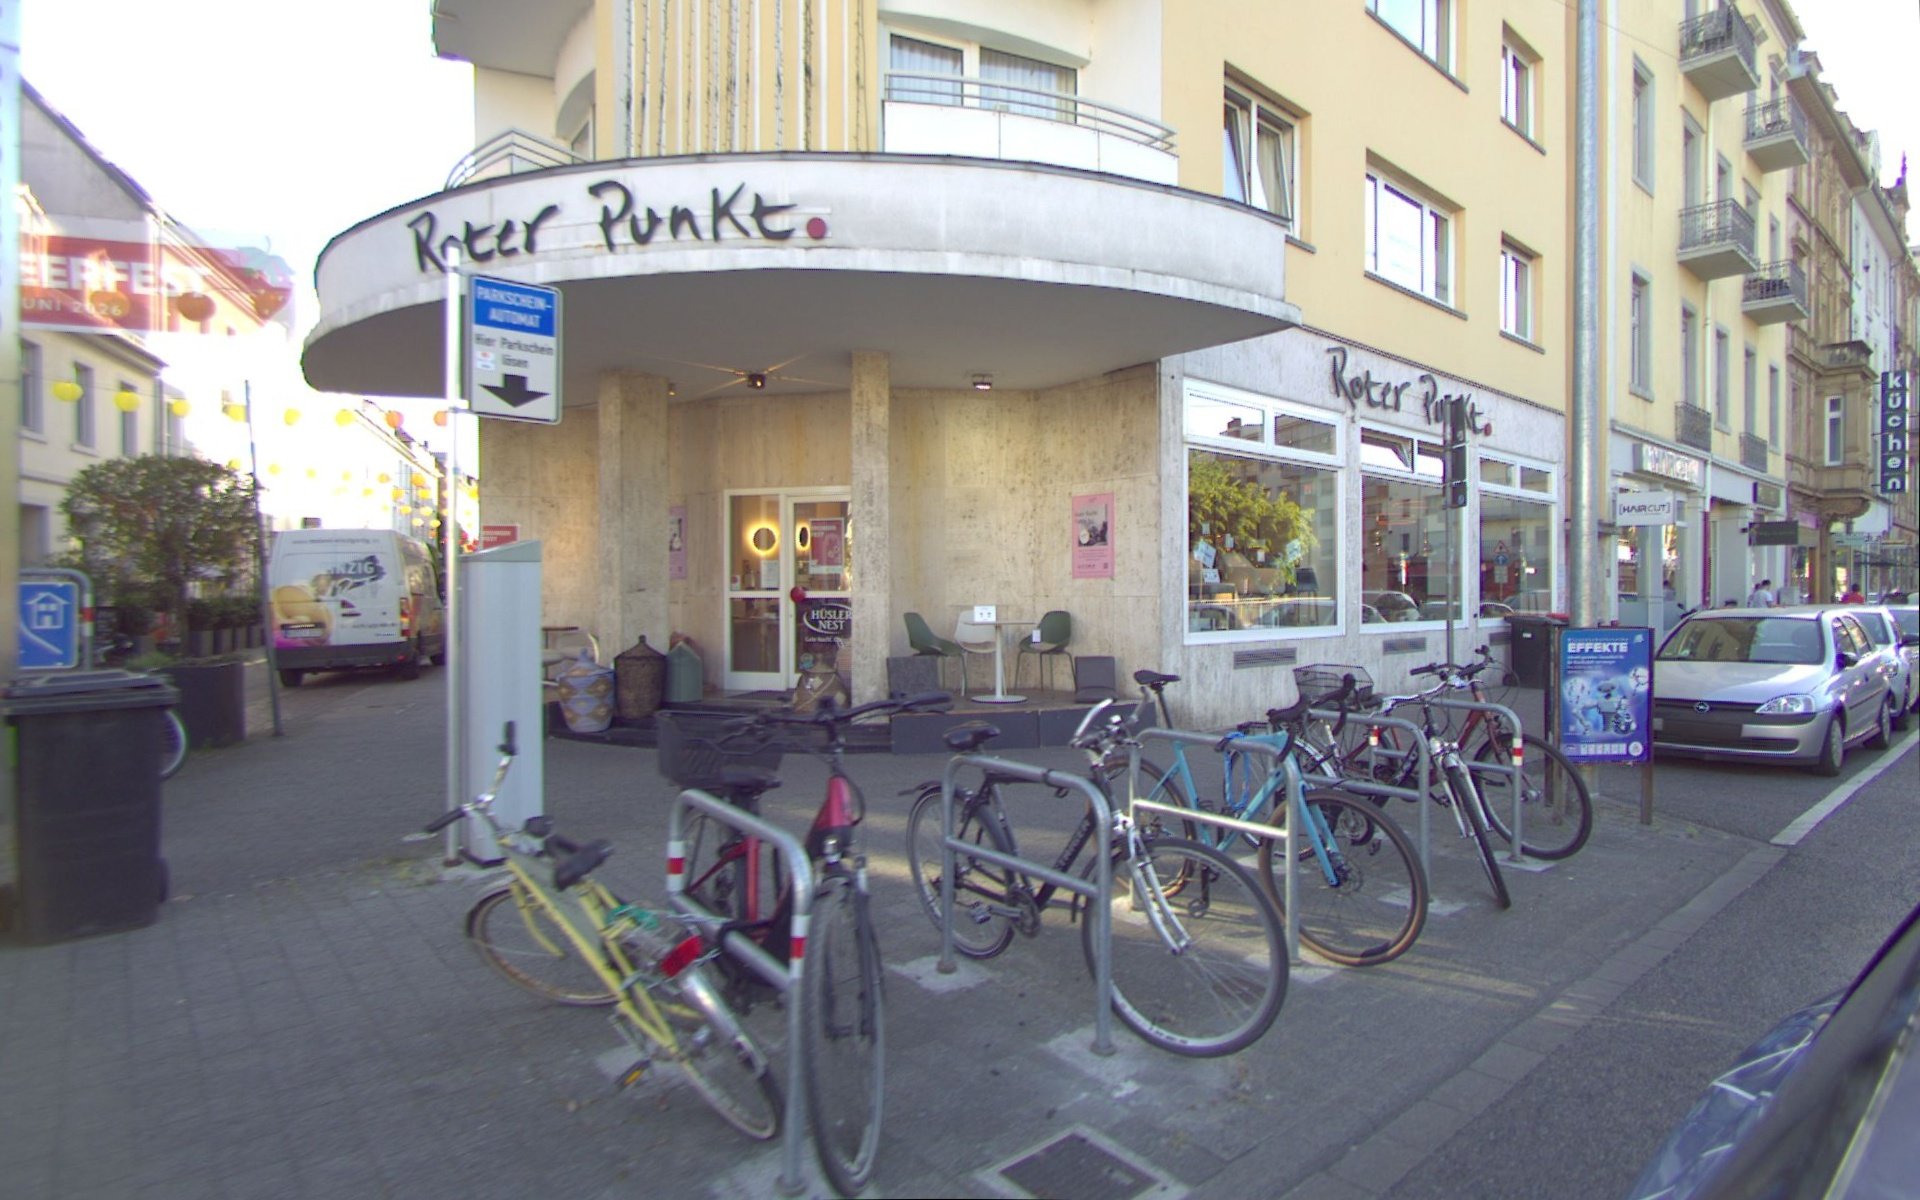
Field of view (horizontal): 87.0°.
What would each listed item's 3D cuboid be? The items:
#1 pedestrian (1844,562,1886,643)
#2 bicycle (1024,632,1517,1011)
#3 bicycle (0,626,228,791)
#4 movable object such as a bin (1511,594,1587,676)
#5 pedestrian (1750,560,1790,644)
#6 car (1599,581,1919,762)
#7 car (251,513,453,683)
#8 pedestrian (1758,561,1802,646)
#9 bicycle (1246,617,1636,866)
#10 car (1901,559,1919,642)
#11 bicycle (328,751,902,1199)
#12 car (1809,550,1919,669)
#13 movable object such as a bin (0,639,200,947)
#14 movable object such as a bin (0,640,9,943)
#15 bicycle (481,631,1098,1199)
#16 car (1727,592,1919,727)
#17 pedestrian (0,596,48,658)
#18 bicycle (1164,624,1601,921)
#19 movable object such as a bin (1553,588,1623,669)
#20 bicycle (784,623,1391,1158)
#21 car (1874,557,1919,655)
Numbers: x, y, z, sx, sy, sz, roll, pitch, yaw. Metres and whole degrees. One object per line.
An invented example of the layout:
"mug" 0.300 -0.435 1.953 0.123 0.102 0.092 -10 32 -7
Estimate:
"pedestrian" 22.068 0.046 24.682 0.891 1.930 0.693 0 0 -44
"bicycle" 1.214 0.770 4.368 0.741 1.172 1.961 0 1 -40
"bicycle" -6.492 0.769 7.439 1.713 1.102 0.562 -1 0 -25
"movable object such as a bin" 8.754 0.495 15.030 0.944 1.175 0.702 -1 0 -40
"pedestrian" 19.468 0.034 24.314 0.605 1.978 0.671 0 0 -44
"car" 7.892 0.534 9.857 3.929 1.415 1.692 -1 1 -39
"car" -10.366 -0.064 17.675 2.026 2.499 4.706 -2 1 -19
"pedestrian" 19.118 0.074 23.594 0.891 1.930 0.693 0 0 -44
"bicycle" 2.796 0.730 6.121 0.671 1.196 2.048 0 1 -40
"car" 25.314 -0.010 25.451 3.930 2.039 1.997 -1 1 -41
"bicycle" -1.044 0.979 2.747 1.842 0.842 0.730 1 1 44
"car" 15.540 0.113 16.600 4.128 1.756 1.995 -1 1 -43
"movable object such as a bin" -3.693 0.752 4.348 0.610 1.126 0.809 -1 0 -42
"movable object such as a bin" -4.138 0.745 3.931 0.610 1.126 0.809 -1 0 -42
"bicycle" -0.630 0.755 3.118 1.941 1.227 0.918 1 1 44
"car" 11.322 0.639 13.001 3.934 1.443 1.738 -1 1 -44
"pedestrian" -19.395 0.538 20.660 0.802 1.207 1.131 0 1 -22
"bicycle" 2.099 0.760 5.318 0.703 1.164 2.026 0 1 -40
"movable object such as a bin" 10.048 0.435 16.190 0.944 1.255 0.702 -1 0 -40
"bicycle" 0.292 0.746 3.531 0.699 1.259 2.137 0 1 -45
"car" 20.239 0.097 20.899 1.993 1.902 3.938 0 1 43
